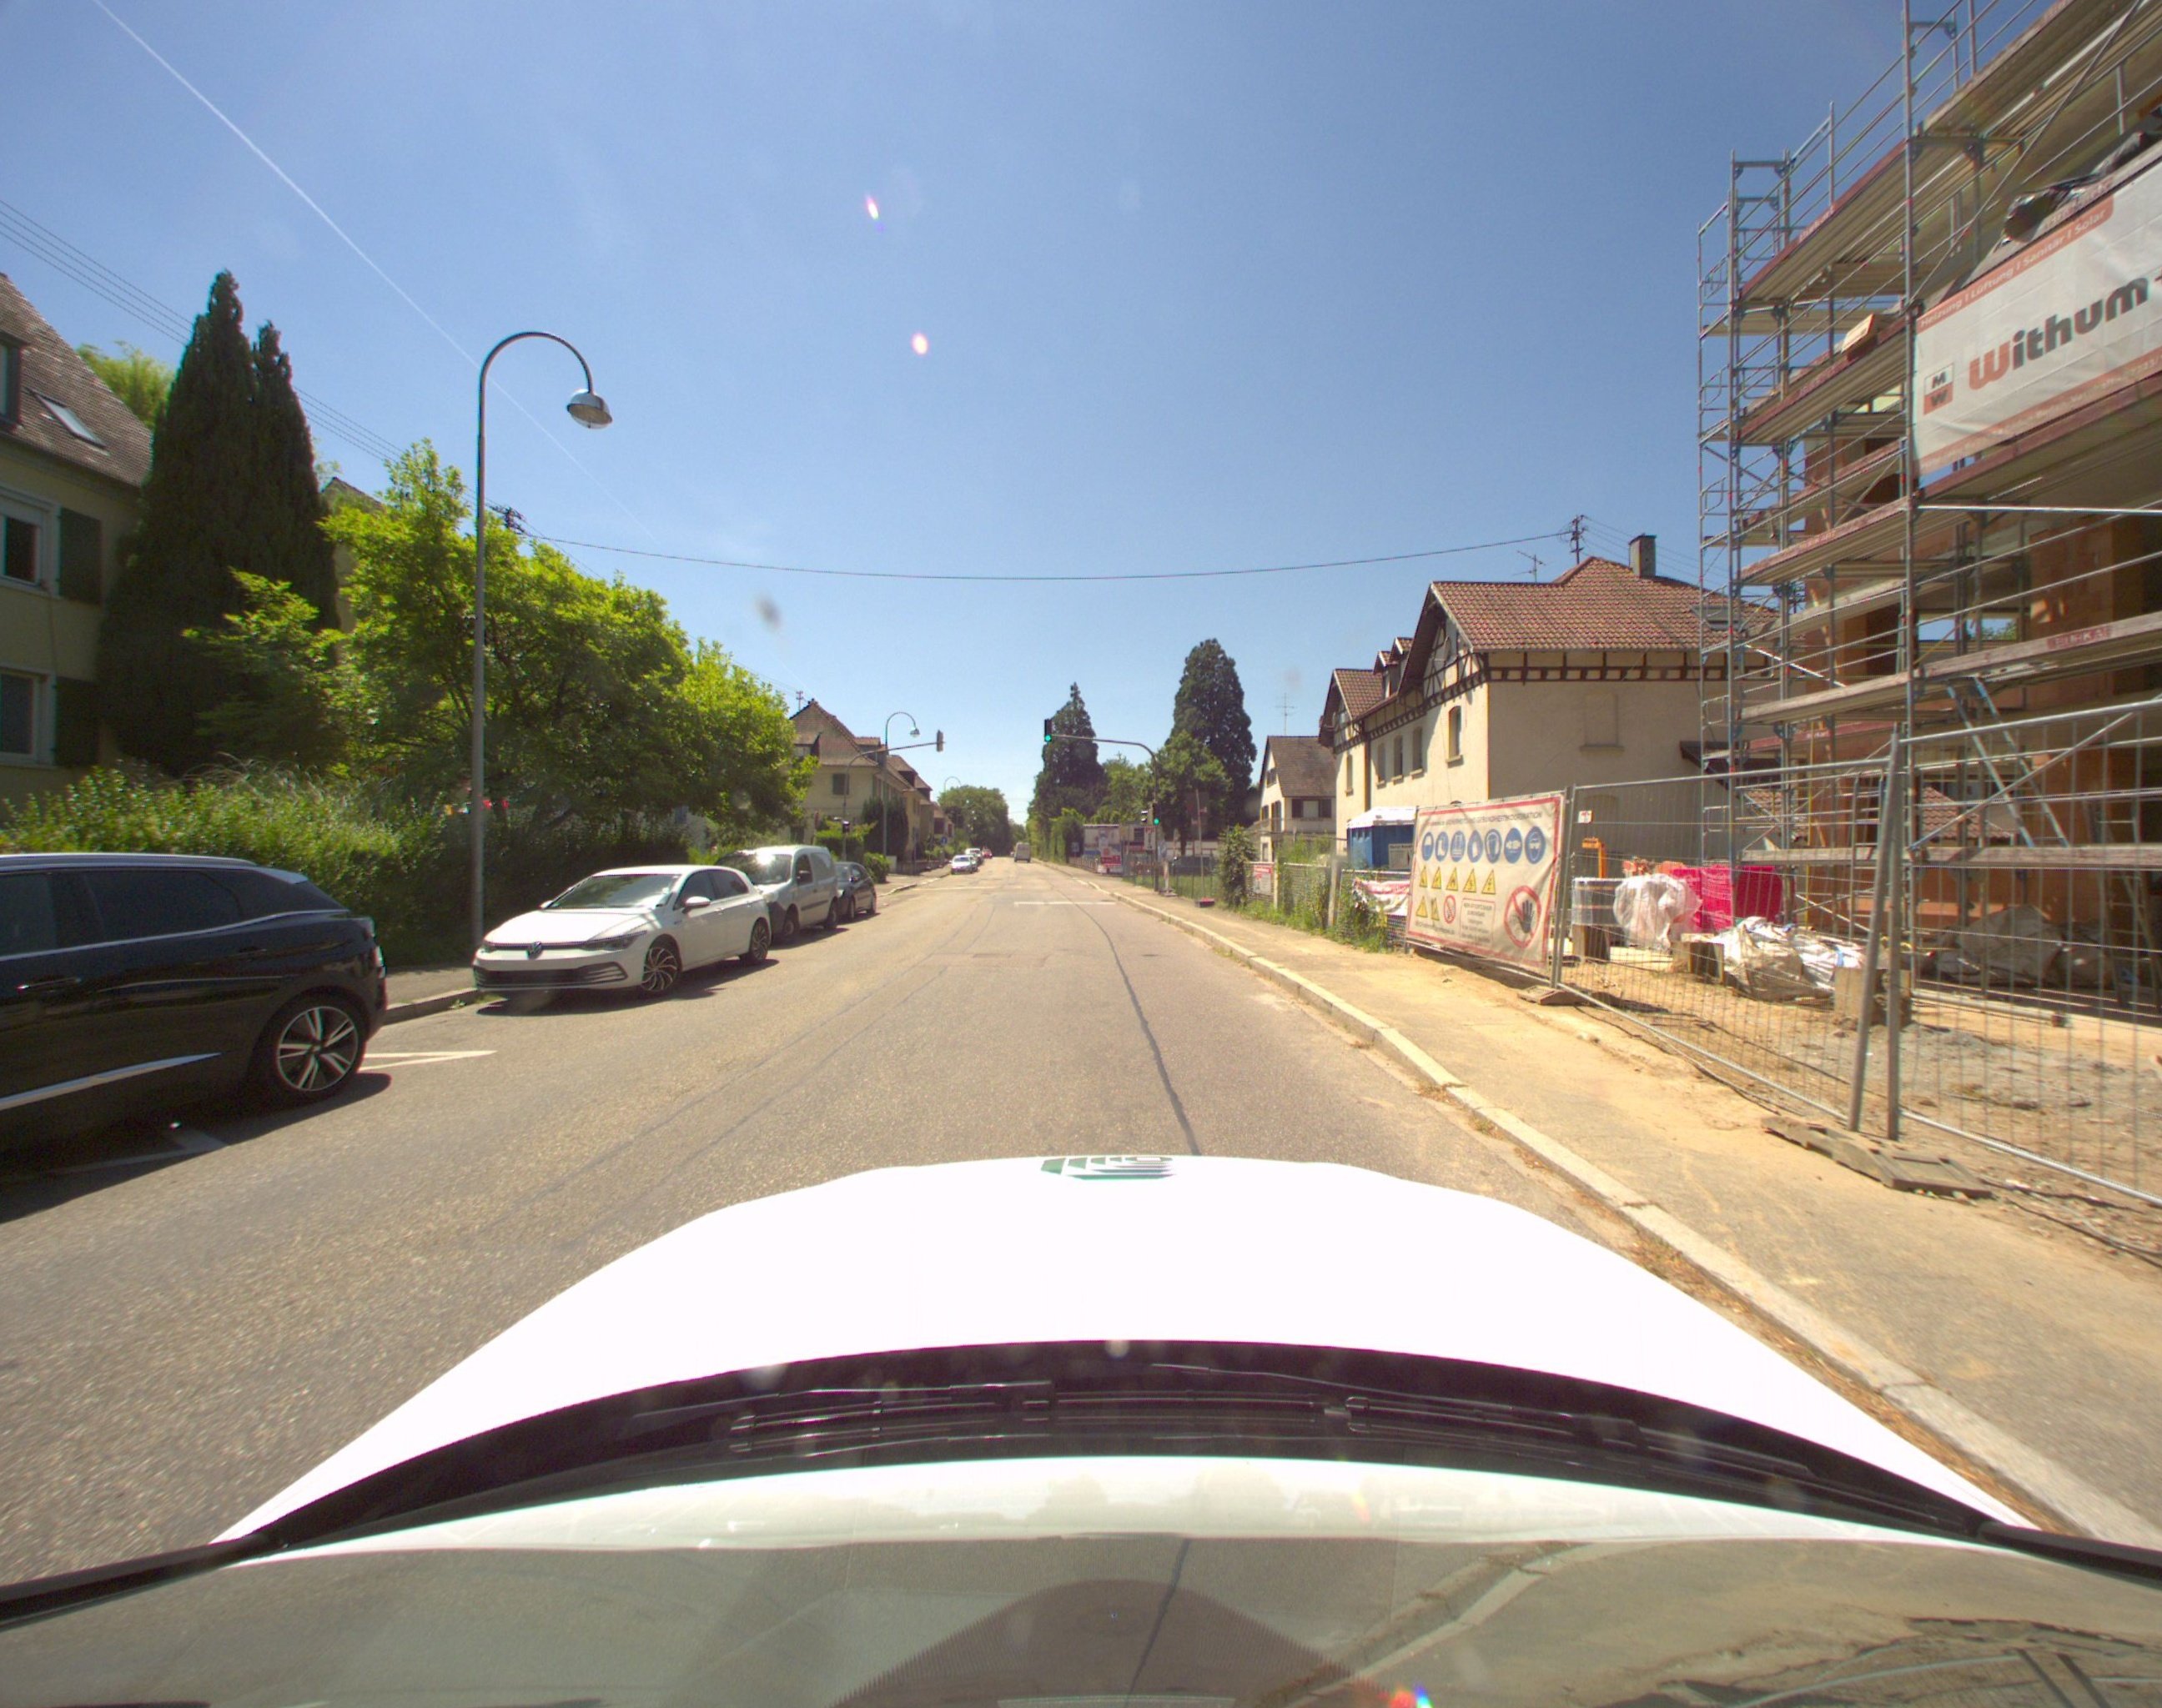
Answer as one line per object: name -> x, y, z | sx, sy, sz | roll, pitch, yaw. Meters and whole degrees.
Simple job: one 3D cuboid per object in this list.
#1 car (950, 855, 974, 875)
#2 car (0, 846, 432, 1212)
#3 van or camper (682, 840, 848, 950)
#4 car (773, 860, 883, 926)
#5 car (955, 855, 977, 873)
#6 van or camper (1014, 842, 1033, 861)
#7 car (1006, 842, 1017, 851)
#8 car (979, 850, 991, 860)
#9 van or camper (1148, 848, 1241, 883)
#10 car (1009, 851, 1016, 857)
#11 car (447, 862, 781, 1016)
car -> -9.363, 0.836, 64.252 | 1.757, 1.447, 3.915 | -1, 0, -7
car -> -5.697, 0.807, 3.874 | 1.675, 1.637, 4.330 | -2, 0, 0
van or camper -> -5.862, 0.683, 15.658 | 1.676, 1.804, 3.983 | -2, 0, -2
car -> -6.202, 0.893, 20.374 | 1.677, 1.412, 3.922 | -2, 0, -3
car -> -9.734, 0.803, 69.247 | 1.793, 1.402, 4.208 | -1, 0, -7
van or camper -> -7.671, -0.333, 108.048 | 2.260, 2.528, 4.748 | -1, 0, -7
car -> -13.609, -1.398, 159.355 | 1.991, 1.662, 3.991 | 0, 0, -7
car -> -15.585, 0.142, 132.242 | 1.812, 1.566, 3.689 | -1, 0, -6
van or camper -> 6.888, 0.676, 49.697 | 5.253, 2.013, 1.902 | 1, 0, -11
car -> -19.599, 0.040, 232.495 | 1.991, 1.662, 3.991 | 0, 0, -7
car -> -5.413, 0.864, 10.201 | 1.675, 1.441, 4.247 | -2, 0, 0
